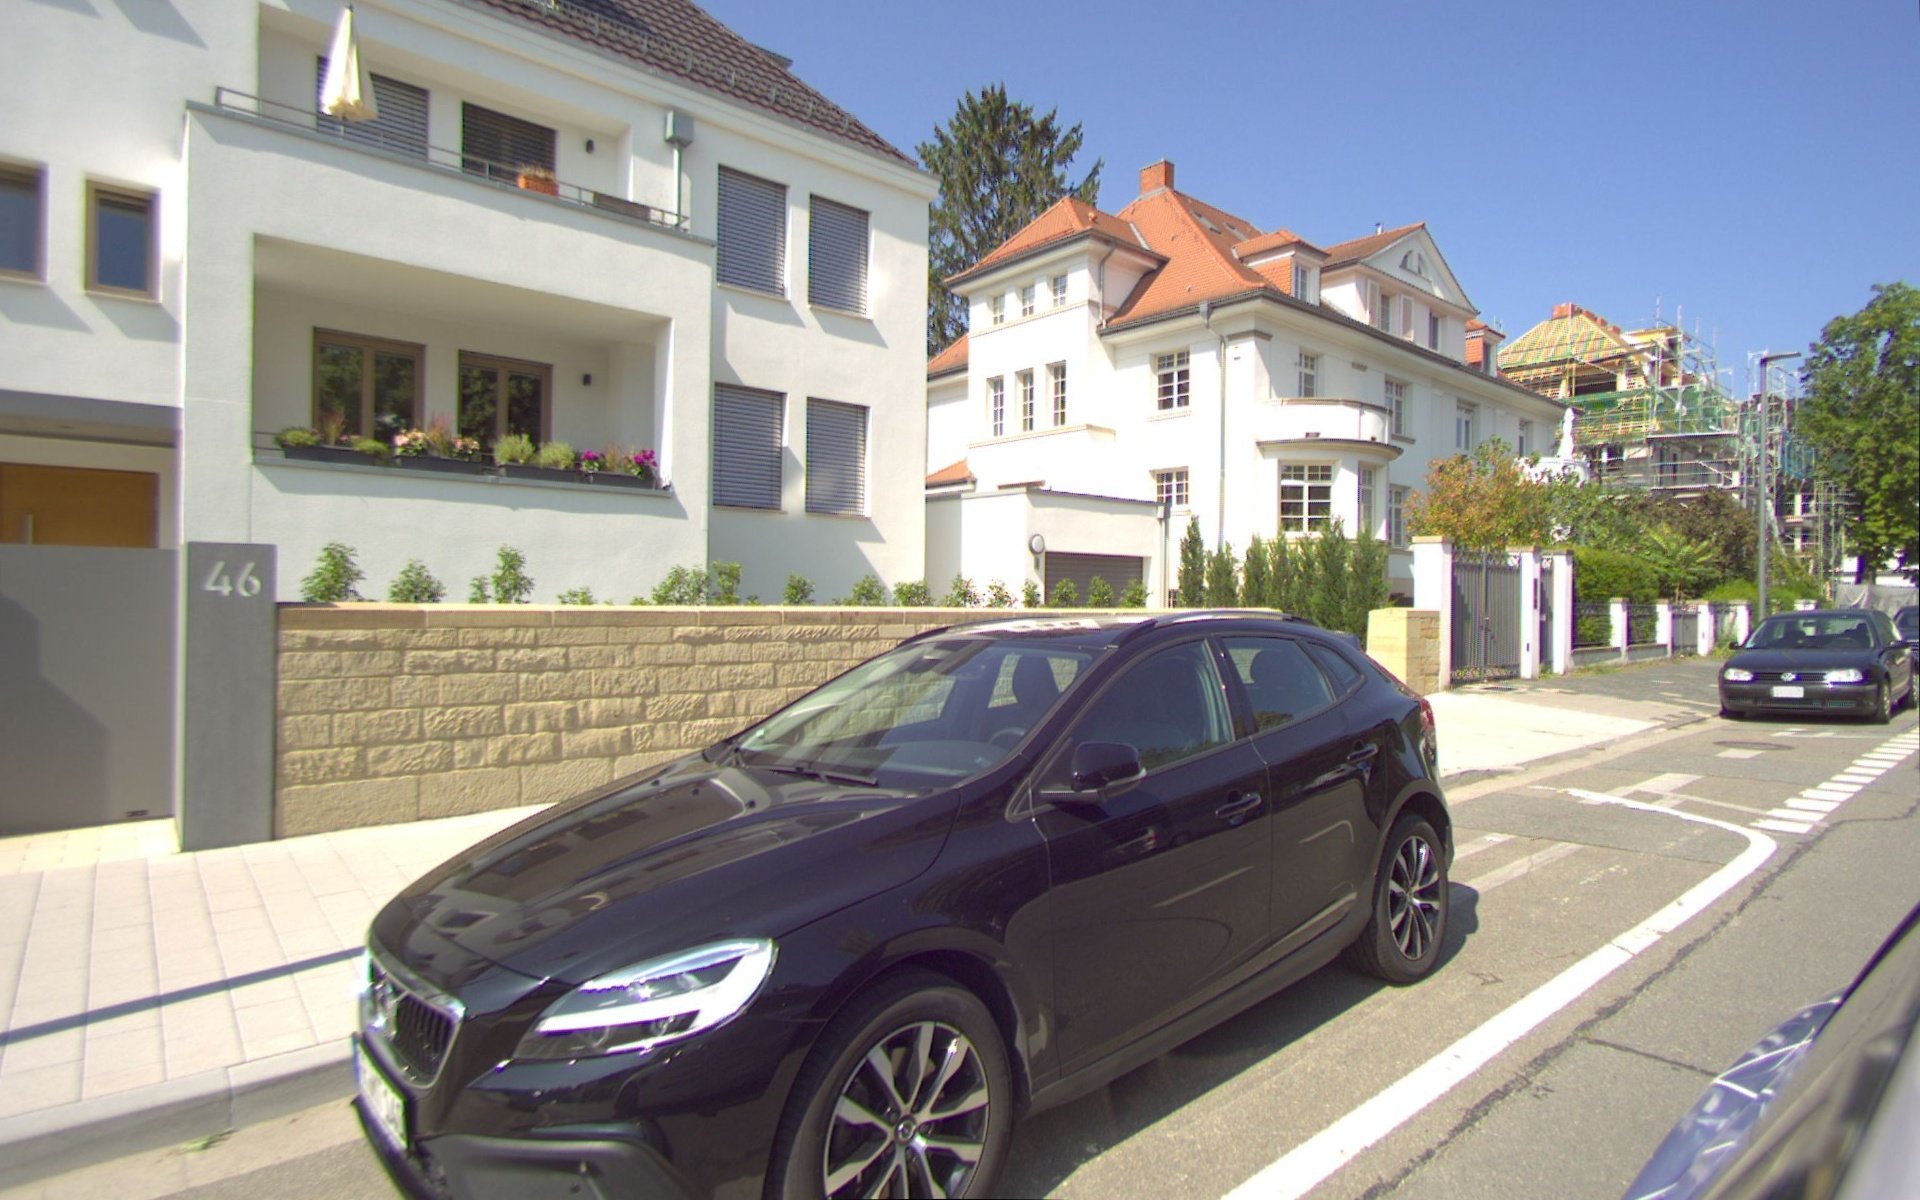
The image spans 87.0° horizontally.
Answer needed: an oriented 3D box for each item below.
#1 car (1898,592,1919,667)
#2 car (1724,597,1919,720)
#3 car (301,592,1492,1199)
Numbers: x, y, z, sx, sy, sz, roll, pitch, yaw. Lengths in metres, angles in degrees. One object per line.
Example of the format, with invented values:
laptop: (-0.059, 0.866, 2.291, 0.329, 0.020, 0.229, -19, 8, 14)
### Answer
car: (22.593, 0.616, 22.871, 4.819, 1.603, 1.697, 0, -2, -44)
car: (12.184, 0.730, 13.988, 3.927, 1.468, 1.622, 0, -3, -39)
car: (0.194, 0.749, 3.644, 4.097, 1.468, 1.723, 0, -2, -43)
